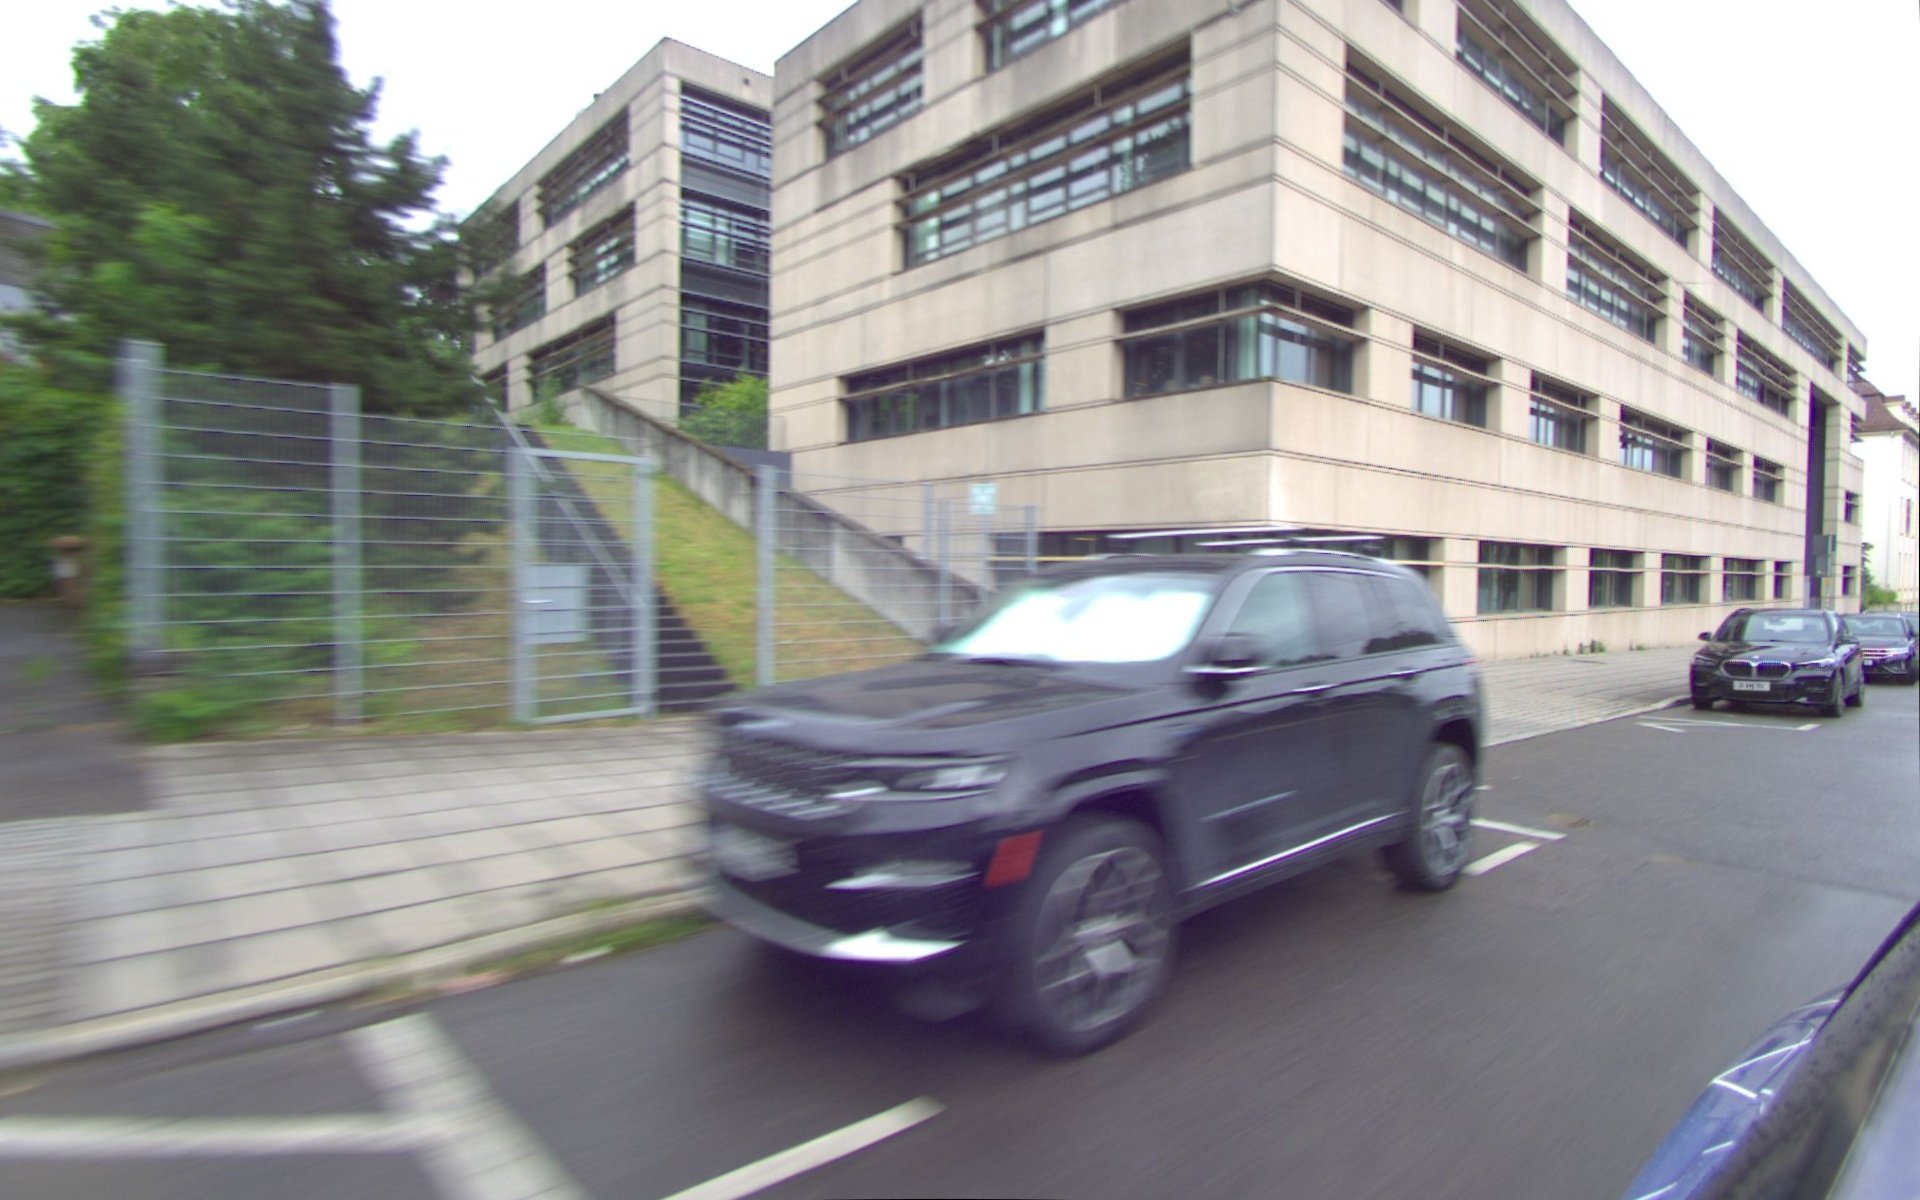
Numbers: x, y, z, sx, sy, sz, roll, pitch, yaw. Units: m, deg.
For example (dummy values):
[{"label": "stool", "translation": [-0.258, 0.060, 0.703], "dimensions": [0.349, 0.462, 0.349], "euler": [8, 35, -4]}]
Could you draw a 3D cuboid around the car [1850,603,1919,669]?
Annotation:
[{"label": "car", "translation": [24.981, 0.896, 26.759], "dimensions": [4.320, 1.624, 1.773], "euler": [0, 1, -43]}]

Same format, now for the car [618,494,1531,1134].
[{"label": "car", "translation": [0.958, 0.581, 5.109], "dimensions": [4.714, 1.772, 1.938], "euler": [0, 1, -42]}]

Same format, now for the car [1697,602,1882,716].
[{"label": "car", "translation": [13.343, 0.821, 16.182], "dimensions": [4.246, 1.552, 1.745], "euler": [0, 0, -43]}]

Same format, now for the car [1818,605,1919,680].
[{"label": "car", "translation": [21.196, 0.904, 23.256], "dimensions": [3.988, 1.531, 1.727], "euler": [0, 0, -42]}]

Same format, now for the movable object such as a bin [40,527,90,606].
[{"label": "movable object such as a bin", "translation": [-11.733, -0.441, 13.268], "dimensions": [0.460, 0.995, 0.266], "euler": [4, 3, 11]}]
